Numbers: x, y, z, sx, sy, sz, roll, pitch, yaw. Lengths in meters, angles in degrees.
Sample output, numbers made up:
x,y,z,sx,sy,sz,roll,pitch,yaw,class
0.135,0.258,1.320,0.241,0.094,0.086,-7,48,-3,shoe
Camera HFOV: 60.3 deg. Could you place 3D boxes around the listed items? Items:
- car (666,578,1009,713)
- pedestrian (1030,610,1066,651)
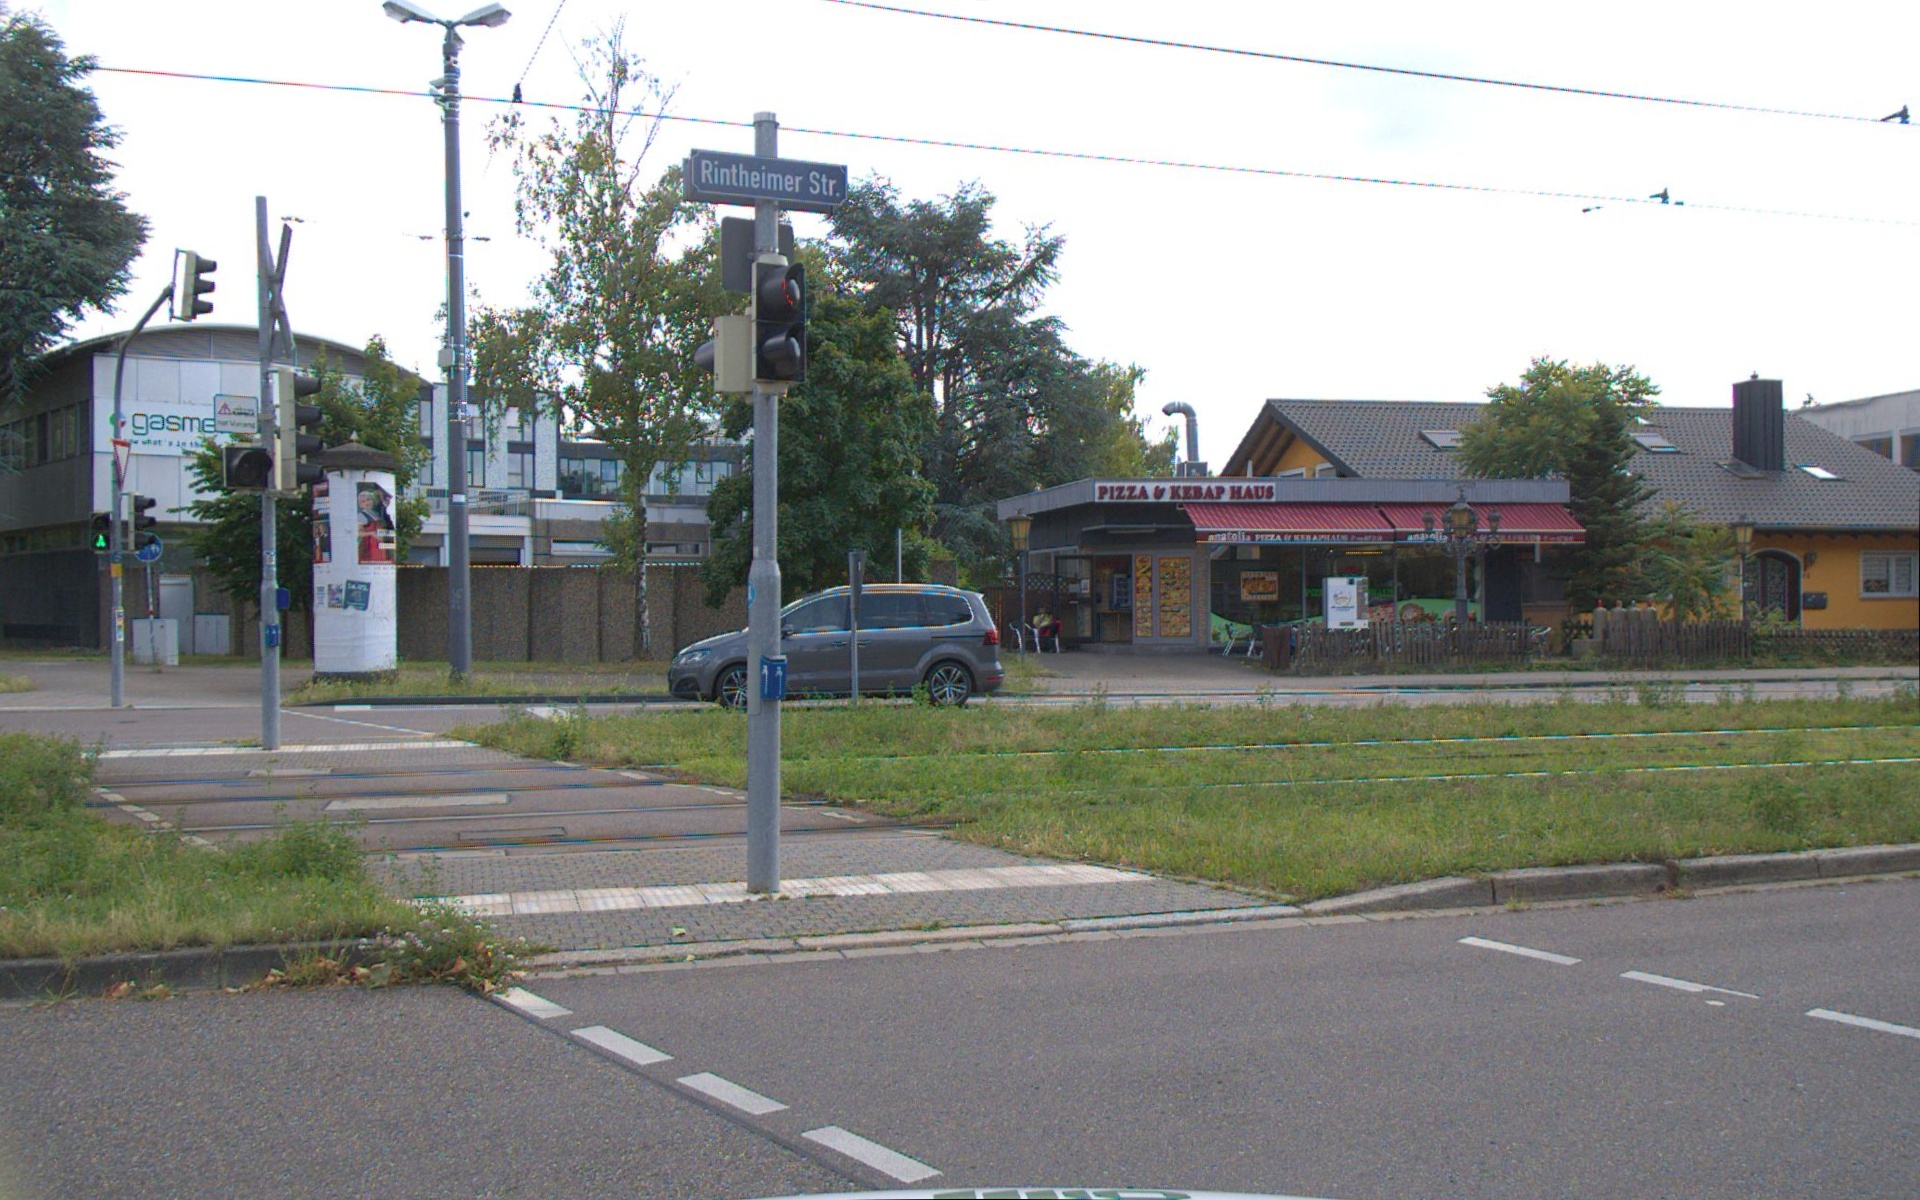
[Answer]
x,y,z,sx,sy,sz,roll,pitch,yaw,class
-1.793,0.600,23.440,4.641,1.752,1.994,-1,0,-12,car
2.086,0.718,39.357,0.711,0.945,0.776,0,2,-7,pedestrian
